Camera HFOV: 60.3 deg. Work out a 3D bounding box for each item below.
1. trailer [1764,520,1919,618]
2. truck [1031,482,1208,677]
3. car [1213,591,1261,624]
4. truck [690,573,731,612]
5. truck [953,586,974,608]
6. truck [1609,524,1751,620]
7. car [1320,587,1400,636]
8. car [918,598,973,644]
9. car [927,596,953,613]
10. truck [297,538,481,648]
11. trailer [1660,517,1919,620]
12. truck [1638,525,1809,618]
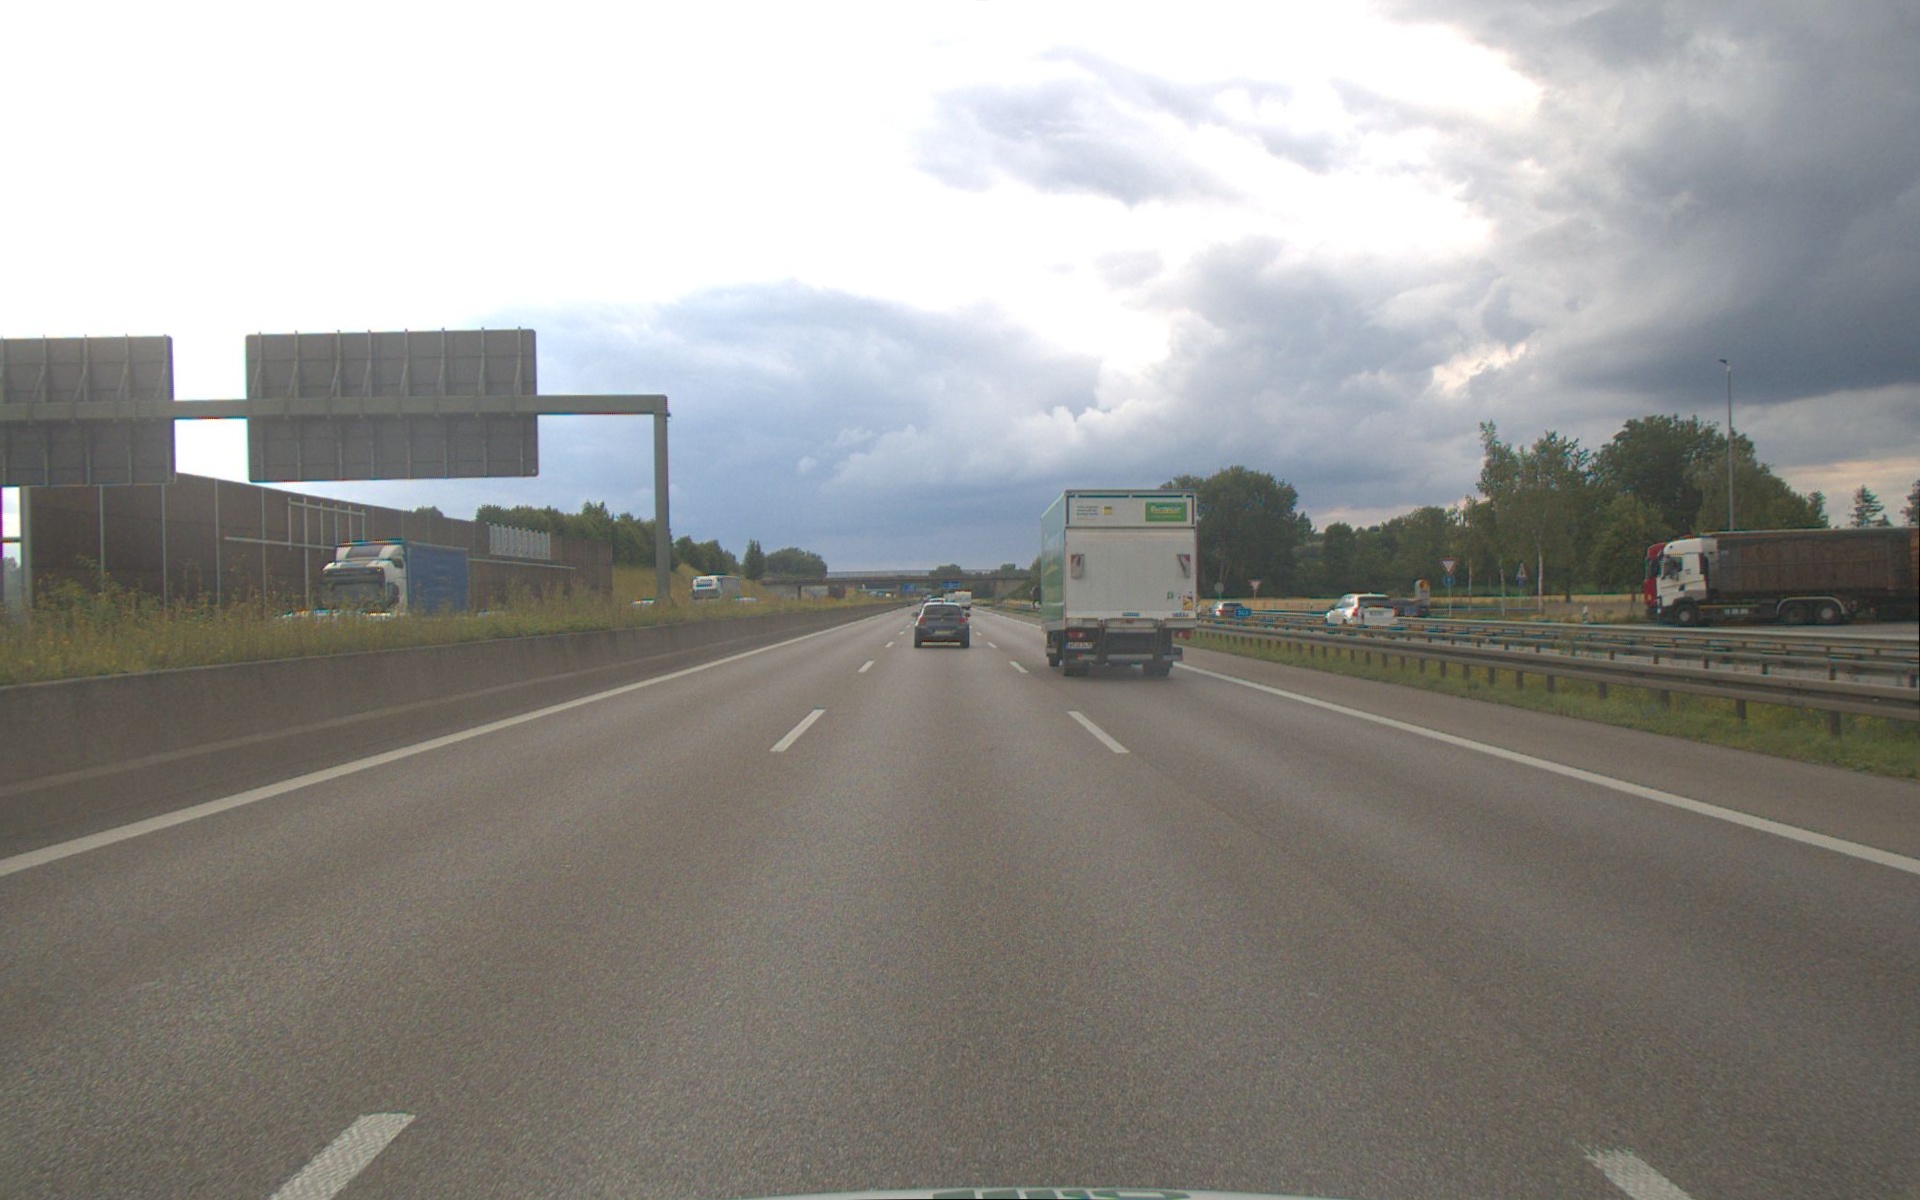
[{"bbox_3d":[39.715,-1.256,66.684,2.726,3.908,12.997,-1,0,-43],"label":"trailer"},{"bbox_3d":[3.128,-0.382,34.974,2.714,3.566,9.060,0,0,-1],"label":"truck"},{"bbox_3d":[15.735,0.424,94.027,1.791,1.787,5.064,-1,0,-1],"label":"car"},{"bbox_3d":[-21.888,-0.652,145.389,2.767,3.283,5.979,-1,0,-1],"label":"truck"},{"bbox_3d":[0.421,-0.380,234.318,2.655,3.016,12.443,1,0,-1],"label":"truck"},{"bbox_3d":[33.934,-1.300,78.090,2.573,4.328,5.600,1,-1,-44],"label":"truck"},{"bbox_3d":[15.419,0.416,63.997,1.791,1.787,5.064,-1,0,-1],"label":"car"},{"bbox_3d":[-0.477,0.643,53.057,1.708,1.413,3.999,0,0,-1],"label":"car"},{"bbox_3d":[-1.633,0.369,133.574,1.953,1.321,3.999,-1,0,-2],"label":"car"},{"bbox_3d":[-20.821,-0.245,61.228,3.193,3.666,10.932,-1,0,-1],"label":"truck"},{"bbox_3d":[37.470,-1.289,74.408,2.578,4.299,10.930,1,-1,-44],"label":"trailer"},{"bbox_3d":[33.674,-1.211,73.091,2.736,3.917,6.289,-1,0,-44],"label":"truck"}]
